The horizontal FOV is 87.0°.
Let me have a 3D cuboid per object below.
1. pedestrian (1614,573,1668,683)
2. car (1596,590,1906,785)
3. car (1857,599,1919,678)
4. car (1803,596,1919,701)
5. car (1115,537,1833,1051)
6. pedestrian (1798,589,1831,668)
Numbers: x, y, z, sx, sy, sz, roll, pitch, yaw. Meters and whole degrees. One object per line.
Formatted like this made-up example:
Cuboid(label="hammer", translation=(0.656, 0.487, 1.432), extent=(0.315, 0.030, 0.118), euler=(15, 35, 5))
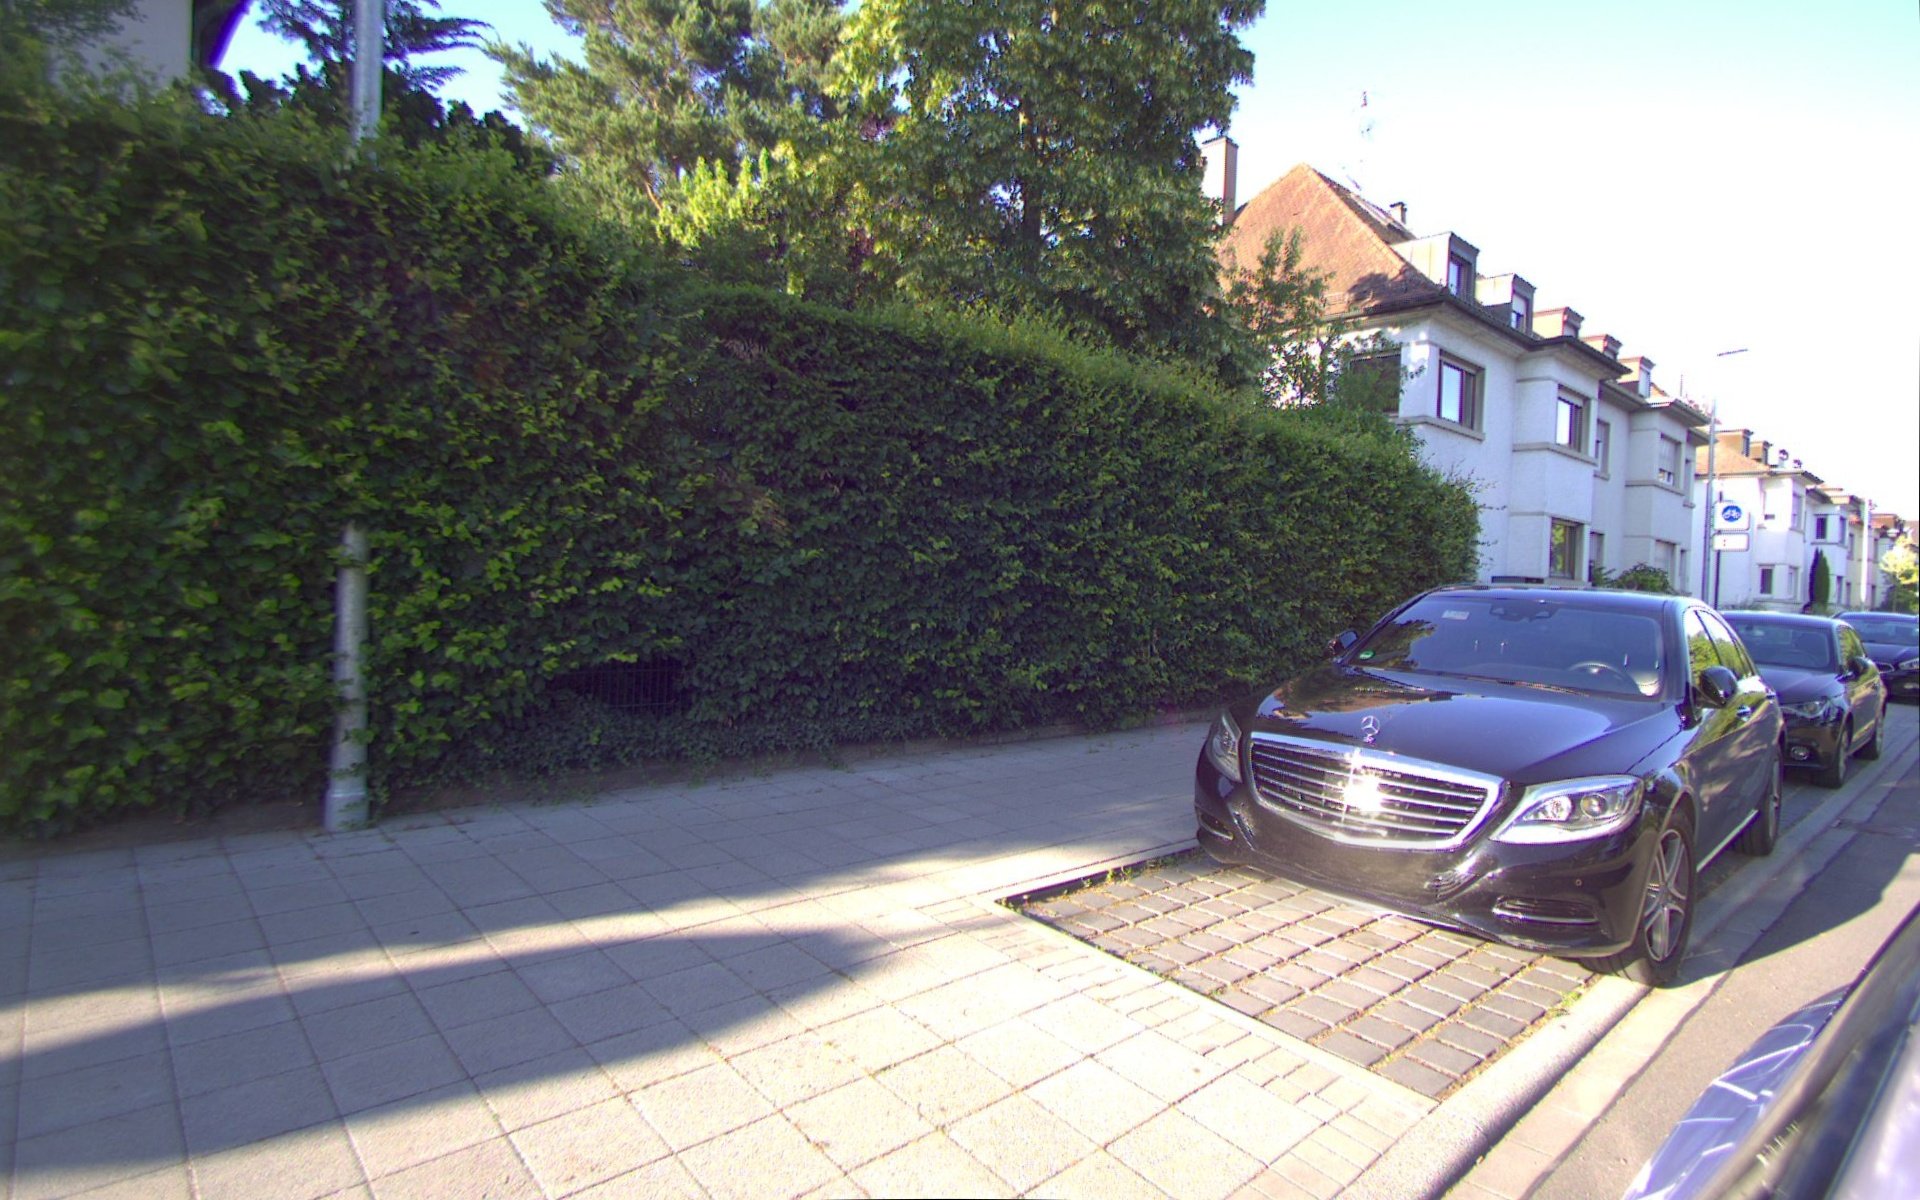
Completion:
Cuboid(label="pedestrian", translation=(11.899, 0.471, 17.674), extent=(0.809, 1.869, 0.587), euler=(0, 0, -41))
Cuboid(label="car", translation=(7.763, 0.697, 9.798), extent=(3.932, 1.496, 1.781), euler=(1, -1, -43))
Cuboid(label="car", translation=(20.004, 0.785, 20.978), extent=(3.410, 1.554, 1.679), euler=(1, -1, -41))
Cuboid(label="car", translation=(15.905, 0.784, 17.310), extent=(4.007, 1.616, 1.793), euler=(1, -1, -43))
Cuboid(label="car", translation=(3.118, 0.557, 5.458), extent=(4.835, 1.517, 2.005), euler=(1, 3, -45))
Cuboid(label="pedestrian", translation=(20.093, 0.650, 23.791), extent=(0.579, 1.821, 0.530), euler=(1, -1, -44))
